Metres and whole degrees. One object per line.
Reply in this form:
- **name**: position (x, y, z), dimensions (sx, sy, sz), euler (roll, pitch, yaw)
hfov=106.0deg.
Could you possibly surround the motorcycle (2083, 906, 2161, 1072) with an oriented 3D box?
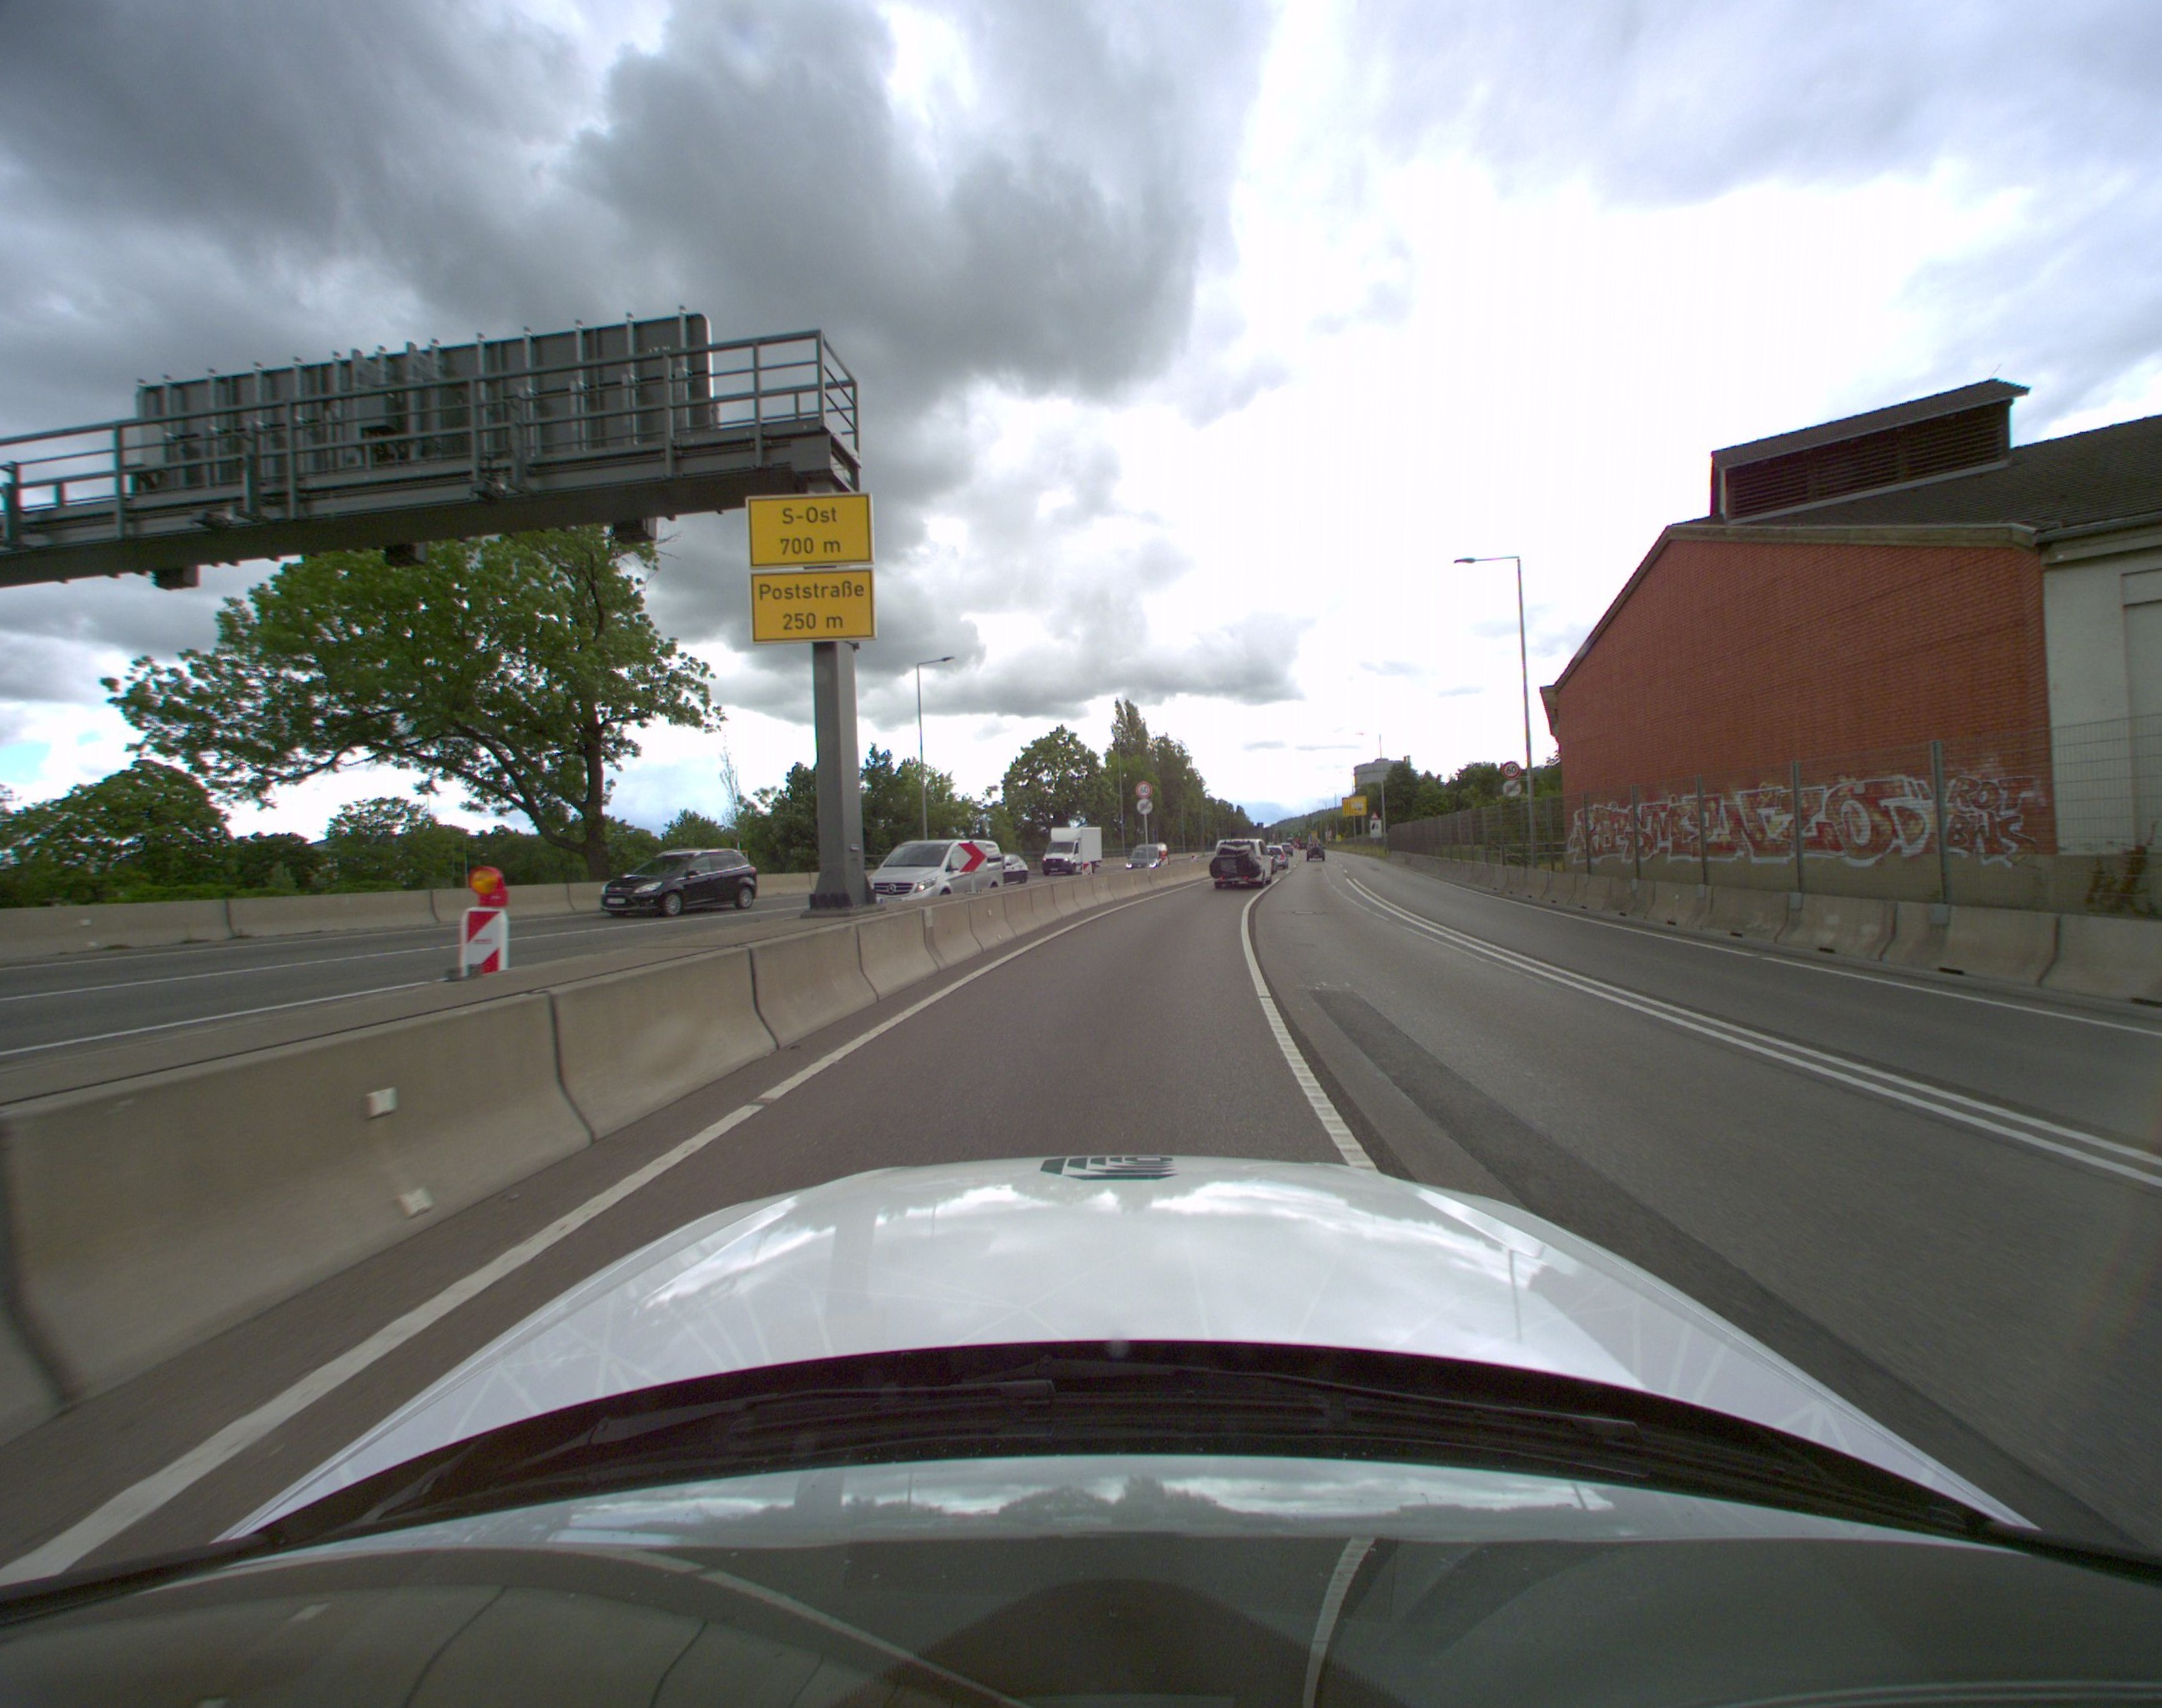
- **motorcycle**: position (7.590, 0.921, 4.595), dimensions (0.740, 1.083, 2.669), euler (-2, 0, 6)

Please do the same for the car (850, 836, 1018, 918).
- **car**: position (-3.520, 0.515, 20.923), dimensions (1.937, 1.806, 5.815), euler (-1, 0, 15)

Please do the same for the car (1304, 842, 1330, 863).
- **car**: position (21.731, -0.103, 75.160), dimensions (1.980, 1.860, 4.013), euler (-2, -1, 12)

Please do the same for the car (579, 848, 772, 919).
- **car**: position (-10.552, 0.704, 21.688), dimensions (1.979, 1.672, 4.746), euler (-1, 0, 14)

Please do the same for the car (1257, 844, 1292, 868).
- **car**: position (13.036, 0.125, 54.689), dimensions (1.905, 1.489, 4.084), euler (-2, 0, 18)

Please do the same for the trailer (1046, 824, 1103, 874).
- **trailer**: position (-0.336, -0.312, 54.511), dimensions (2.255, 3.138, 5.736), euler (-1, 0, 16)

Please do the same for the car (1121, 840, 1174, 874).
- **car**: position (3.823, 0.171, 45.934), dimensions (1.886, 1.805, 4.977), euler (-1, 0, 17)

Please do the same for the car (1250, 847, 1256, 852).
- **car**: position (48.579, -1.403, 230.333), dimensions (1.721, 1.374, 3.628), euler (-2, 0, 11)

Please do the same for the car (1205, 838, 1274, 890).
- **car**: position (6.321, 0.318, 32.007), dimensions (1.977, 1.859, 5.667), euler (0, 1, 18)

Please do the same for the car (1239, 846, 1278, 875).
- **car**: position (10.044, 0.356, 45.833), dimensions (1.801, 1.434, 4.082), euler (-3, 0, 16)

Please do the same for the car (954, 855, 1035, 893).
- **car**: position (-3.507, 0.789, 33.893), dimensions (1.850, 1.453, 4.588), euler (-1, -1, 14)

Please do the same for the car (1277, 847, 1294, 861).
- **car**: position (25.476, -0.013, 101.607), dimensions (1.979, 1.673, 4.016), euler (-1, 0, 15)

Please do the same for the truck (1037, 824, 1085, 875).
- **truck**: position (-1.228, -0.284, 51.455), dimensions (2.255, 3.114, 3.000), euler (-1, 0, 16)
